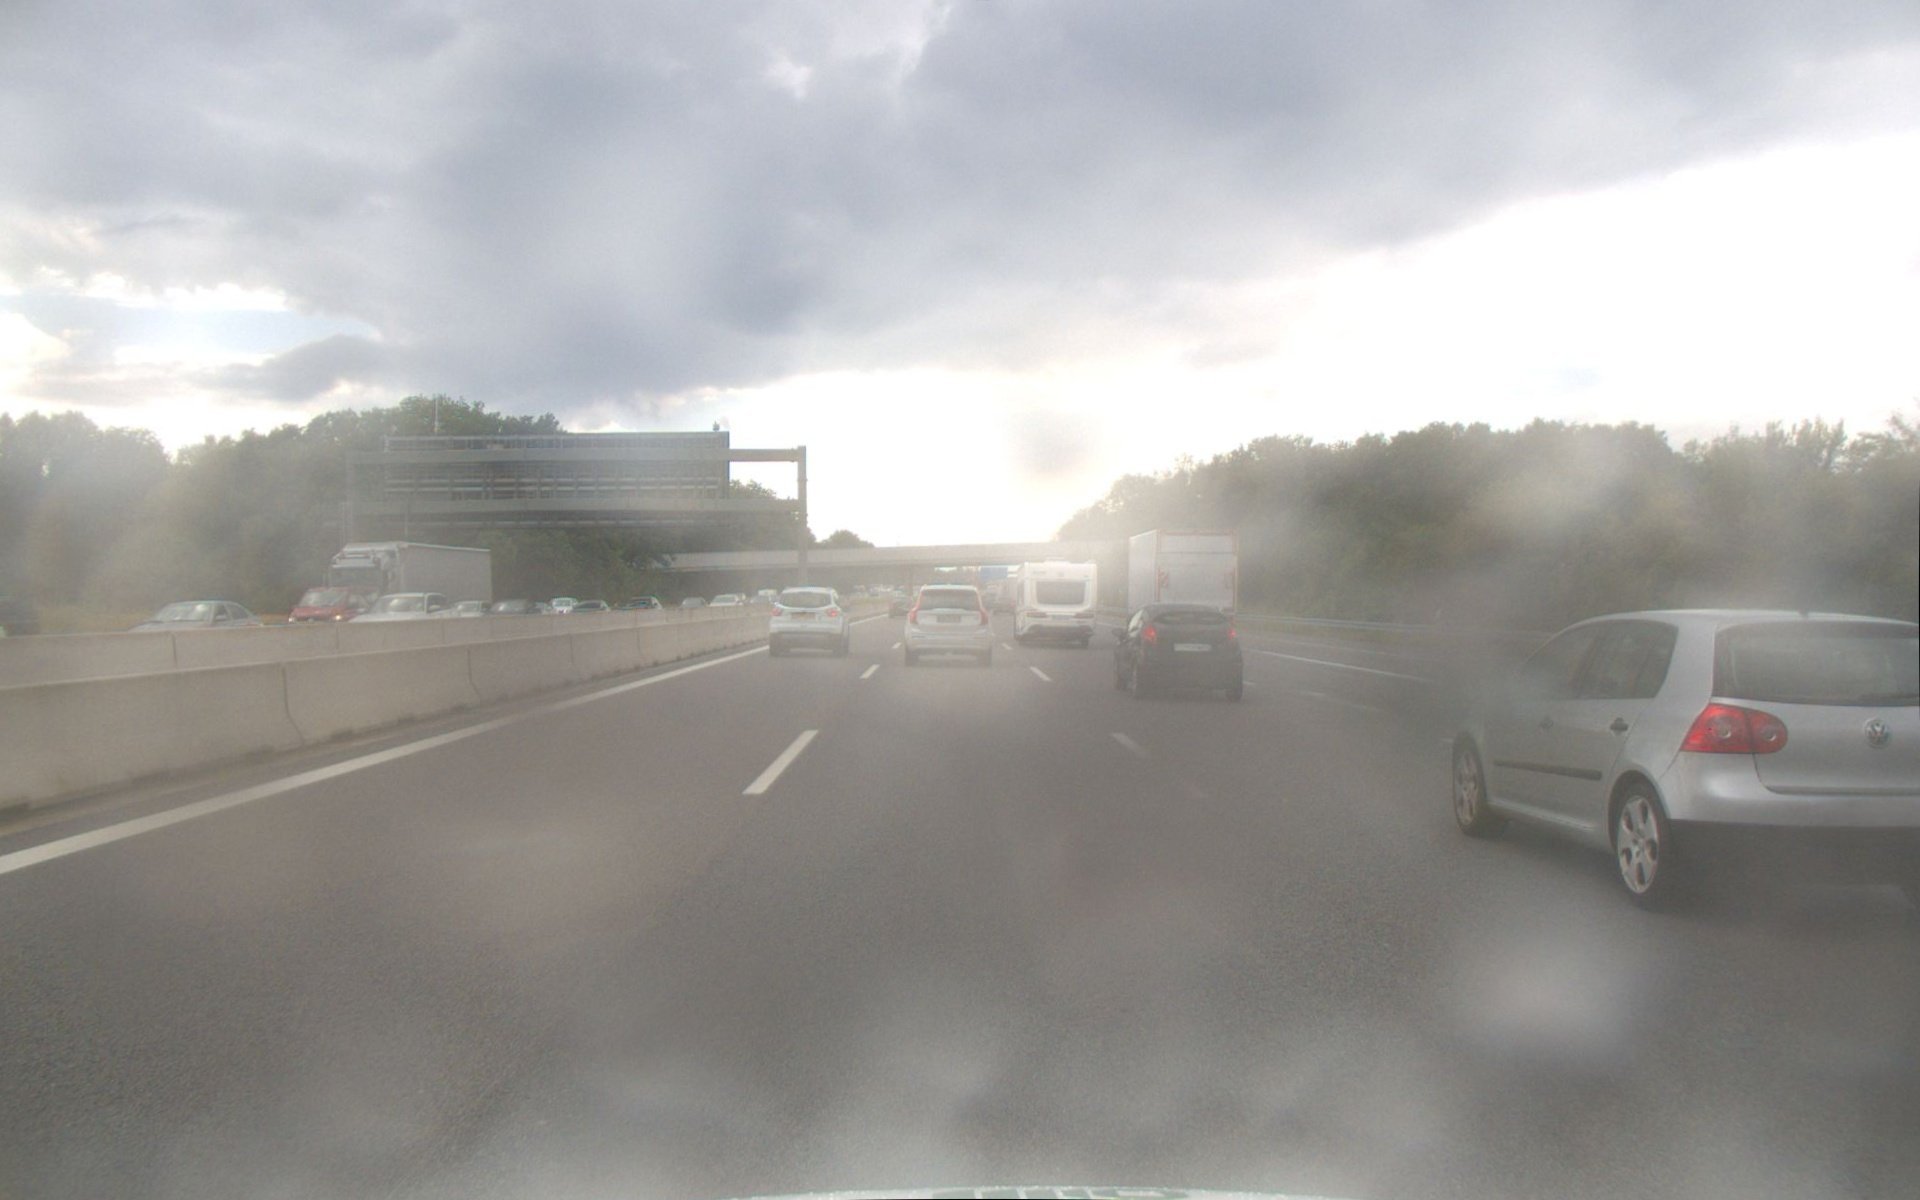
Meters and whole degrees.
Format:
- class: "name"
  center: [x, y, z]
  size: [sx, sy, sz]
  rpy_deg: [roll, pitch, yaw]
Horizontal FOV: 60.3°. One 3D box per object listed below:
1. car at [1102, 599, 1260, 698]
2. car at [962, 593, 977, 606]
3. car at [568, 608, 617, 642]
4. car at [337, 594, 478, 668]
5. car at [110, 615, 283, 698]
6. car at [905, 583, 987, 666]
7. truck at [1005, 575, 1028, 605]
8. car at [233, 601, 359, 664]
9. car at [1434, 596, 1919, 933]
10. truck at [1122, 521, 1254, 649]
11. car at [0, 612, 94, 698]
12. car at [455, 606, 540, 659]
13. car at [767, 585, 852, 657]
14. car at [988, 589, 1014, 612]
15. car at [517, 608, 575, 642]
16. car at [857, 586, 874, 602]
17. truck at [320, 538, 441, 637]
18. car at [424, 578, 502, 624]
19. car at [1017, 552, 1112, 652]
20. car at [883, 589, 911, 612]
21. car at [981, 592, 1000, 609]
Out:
- class: "car"
  center: [3.436, 0.715, 26.449]
  size: [1.847, 1.431, 4.281]
  rpy_deg: [1, 0, -1]
- class: "car"
  center: [1.274, -0.035, 225.394]
  size: [1.844, 1.715, 3.998]
  rpy_deg: [1, 0, -3]
- class: "car"
  center: [-21.491, 1.440, 96.861]
  size: [1.953, 1.924, 4.362]
  rpy_deg: [1, 0, 0]
- class: "car"
  center: [-13.746, 0.719, 41.454]
  size: [1.953, 1.744, 4.871]
  rpy_deg: [1, 0, -1]
- class: "car"
  center: [-17.901, 1.276, 39.055]
  size: [1.953, 1.744, 4.698]
  rpy_deg: [1, 0, -1]
- class: "car"
  center: [-0.352, 0.511, 37.386]
  size: [1.745, 1.746, 4.351]
  rpy_deg: [1, 0, -2]
- class: "truck"
  center: [7.493, -1.316, 220.183]
  size: [2.846, 3.876, 7.274]
  rpy_deg: [1, 0, 0]
- class: "car"
  center: [-21.552, 1.002, 53.947]
  size: [1.953, 1.906, 5.392]
  rpy_deg: [1, 0, 0]
- class: "car"
  center: [4.209, 0.740, 9.473]
  size: [1.759, 1.503, 4.037]
  rpy_deg: [1, 0, -1]
- class: "truck"
  center: [7.257, -0.473, 54.070]
  size: [3.069, 3.774, 9.848]
  rpy_deg: [1, 0, 1]
- class: "car"
  center: [-21.149, 1.178, 36.203]
  size: [1.953, 1.744, 4.698]
  rpy_deg: [1, 0, -1]
- class: "car"
  center: [-17.748, 1.210, 63.671]
  size: [1.953, 1.906, 4.760]
  rpy_deg: [1, 0, 0]
- class: "car"
  center: [-3.766, 0.480, 42.041]
  size: [1.778, 1.719, 4.851]
  rpy_deg: [0, 1, -1]
- class: "car"
  center: [3.312, 0.054, 135.581]
  size: [2.001, 1.855, 4.904]
  rpy_deg: [1, 0, 0]
- class: "car"
  center: [-25.861, 1.553, 103.582]
  size: [2.381, 1.986, 4.828]
  rpy_deg: [1, 0, 0]
- class: "car"
  center: [-13.209, -0.826, 231.335]
  size: [1.952, 2.219, 5.289]
  rpy_deg: [1, 0, 0]
- class: "truck"
  center: [-25.446, -0.549, 72.926]
  size: [3.155, 4.128, 6.231]
  rpy_deg: [1, 0, -1]
- class: "car"
  center: [-21.486, 0.040, 71.738]
  size: [1.953, 1.906, 4.760]
  rpy_deg: [1, 0, 0]
- class: "car"
  center: [3.260, 0.052, 53.173]
  size: [2.514, 2.946, 7.533]
  rpy_deg: [1, 0, 0]
- class: "car"
  center: [-4.209, 0.033, 111.349]
  size: [1.744, 1.507, 4.352]
  rpy_deg: [1, 0, 0]
- class: "car"
  center: [3.300, 0.008, 182.015]
  size: [2.001, 1.855, 4.904]
  rpy_deg: [1, 0, 0]
